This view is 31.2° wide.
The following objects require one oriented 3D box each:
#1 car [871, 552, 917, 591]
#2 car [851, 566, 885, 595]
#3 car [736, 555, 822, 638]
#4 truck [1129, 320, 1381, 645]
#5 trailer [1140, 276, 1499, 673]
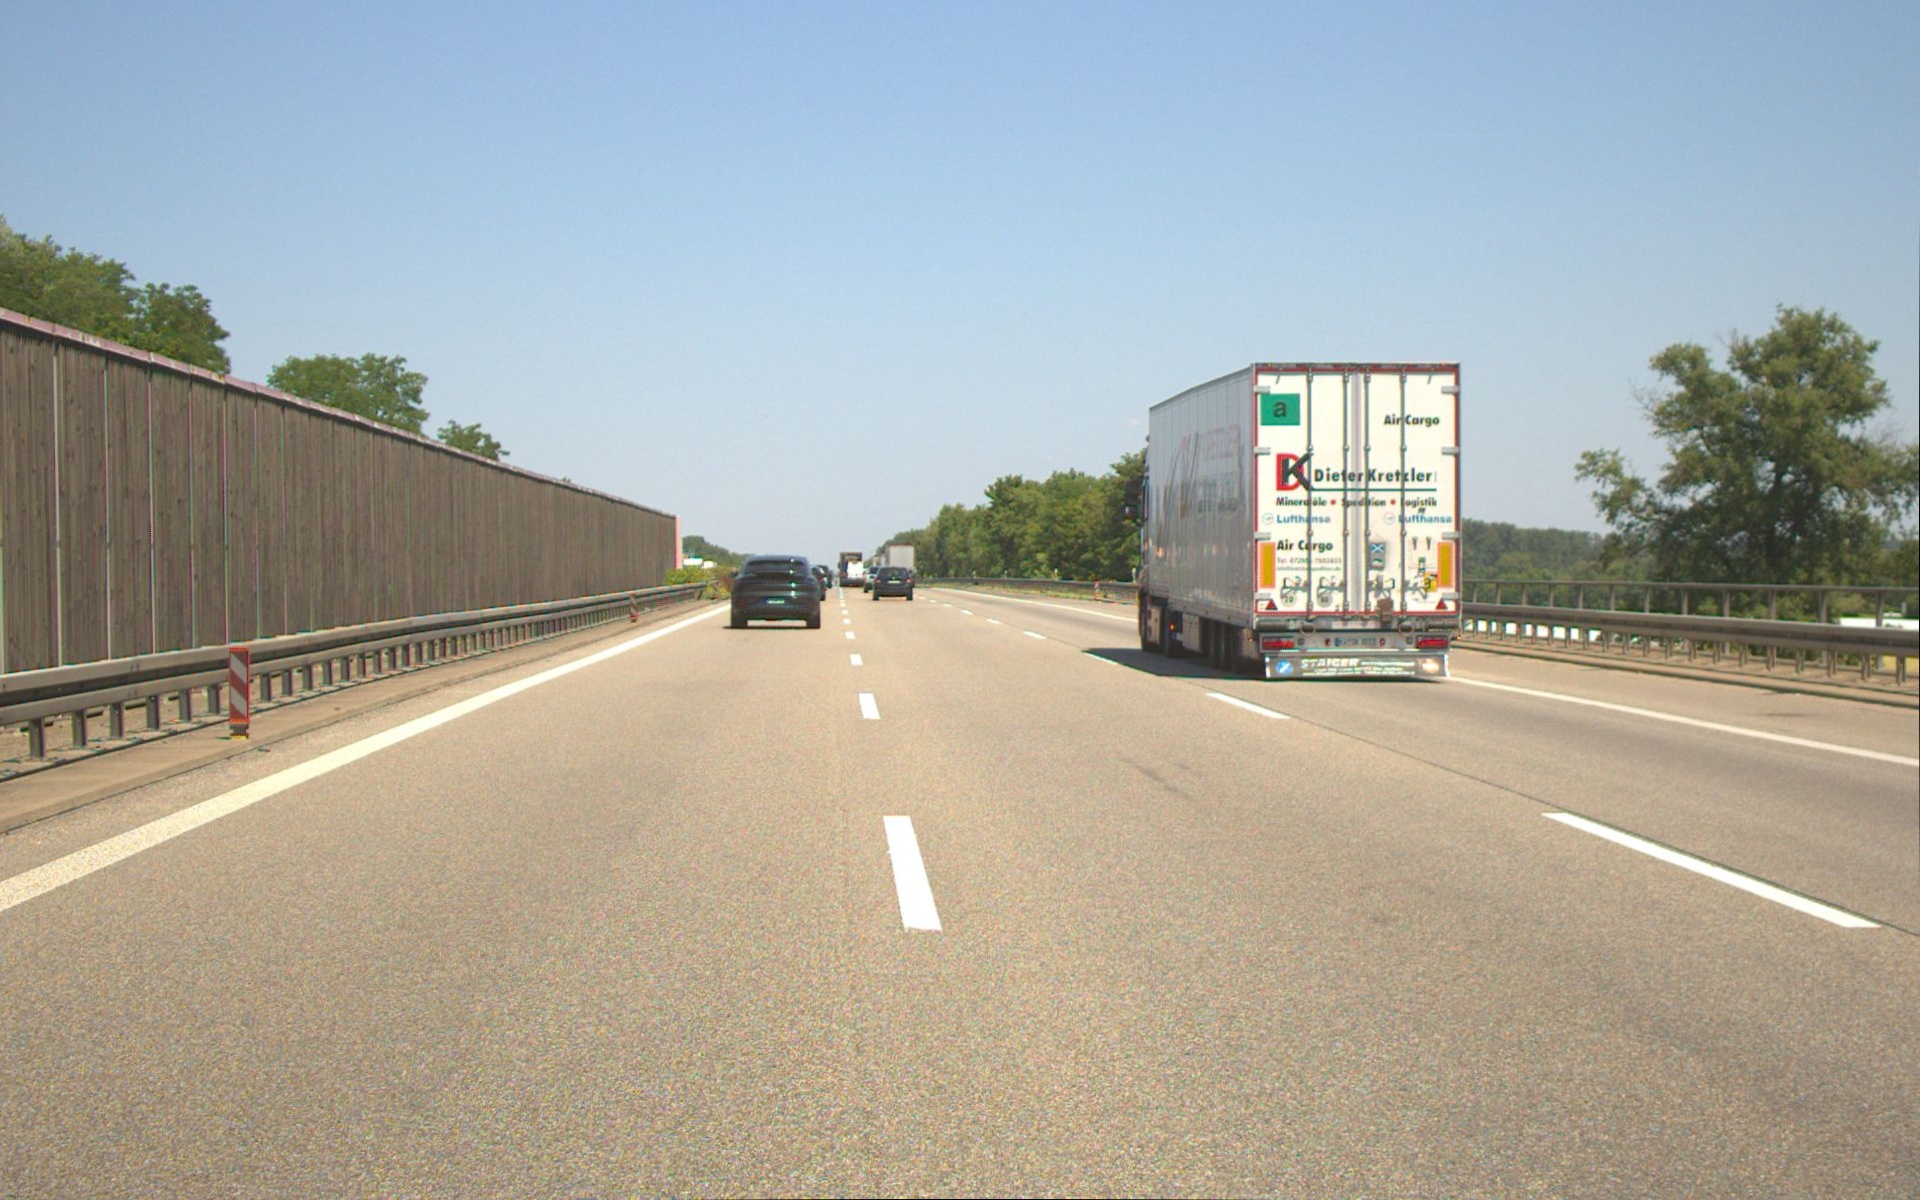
[{"bbox_3d":[-2.808,-1.206,146.236,1.903,1.578,4.304,-1,0,-2],"label":"car"},{"bbox_3d":[-5.255,-1.105,195.687,1.903,1.578,4.304,-1,0,-2],"label":"car"},{"bbox_3d":[-4.092,-0.109,77.477,1.880,1.786,4.001,0,1,-3],"label":"car"},{"bbox_3d":[4.602,-1.827,55.157,3.234,4.872,6.972,0,1,-1],"label":"truck"},{"bbox_3d":[4.760,-1.662,49.046,3.269,4.821,14.030,0,1,-1],"label":"trailer"}]
